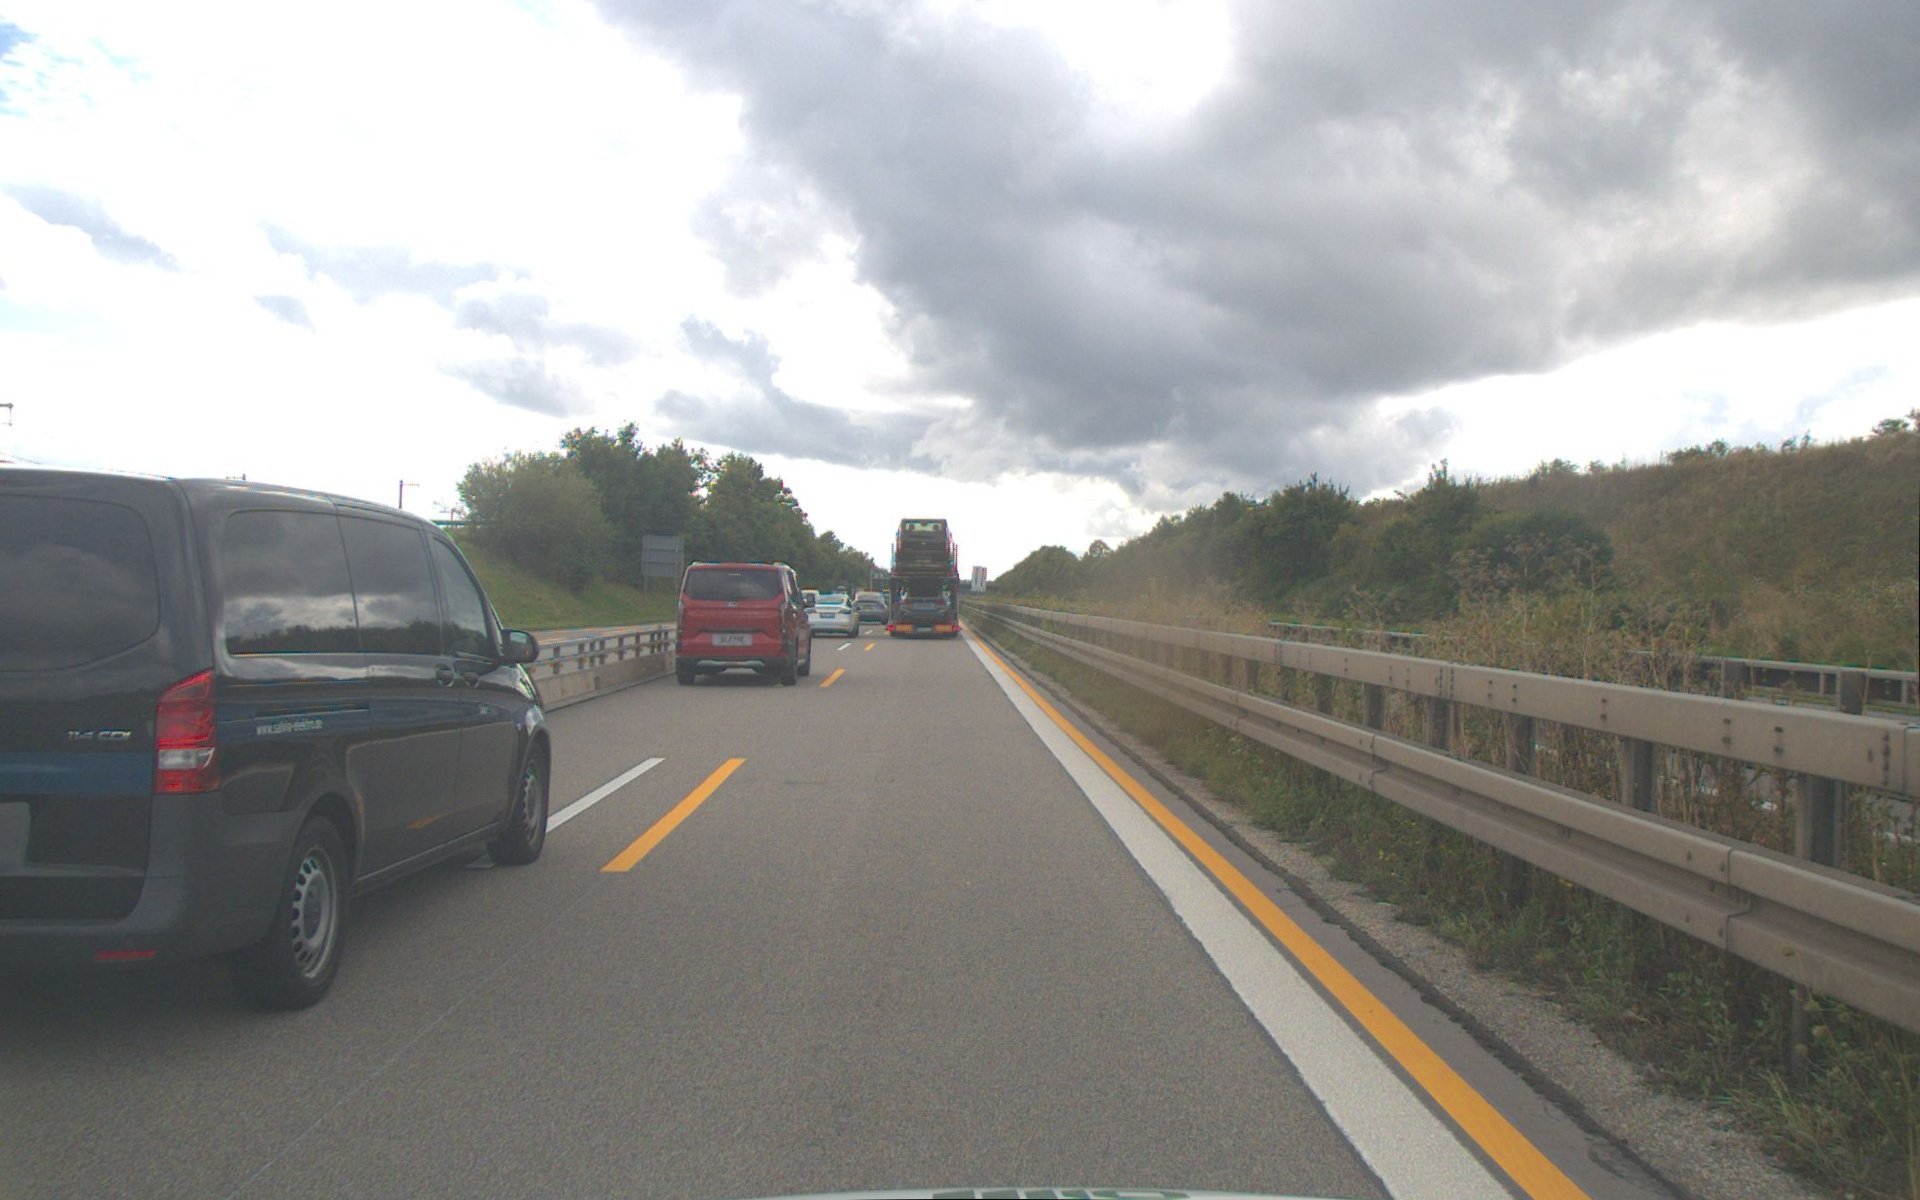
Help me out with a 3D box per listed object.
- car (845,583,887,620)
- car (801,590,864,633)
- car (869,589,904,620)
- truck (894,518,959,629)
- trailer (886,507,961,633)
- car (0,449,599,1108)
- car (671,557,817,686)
[{"bbox_3d":[-4.694,0.073,83.188,1.990,1.788,4.576,0,0,-2],"label":"car"},{"bbox_3d":[-4.433,0.393,58.110,1.990,1.456,4.576,0,0,-2],"label":"car"},{"bbox_3d":[-4.314,0.245,97.695,1.990,1.788,4.576,0,0,-2],"label":"car"},{"bbox_3d":[-1.284,-1.022,65.680,2.464,4.177,5.684,0,0,0],"label":"truck"},{"bbox_3d":[-1.251,-1.013,60.867,2.464,4.177,11.112,0,0,0],"label":"trailer"},{"bbox_3d":[-3.194,0.500,7.507,1.953,1.875,5.608,0,0,-1],"label":"car"},{"bbox_3d":[-3.614,0.329,28.498,1.990,2.049,4.577,0,0,-1],"label":"car"}]
